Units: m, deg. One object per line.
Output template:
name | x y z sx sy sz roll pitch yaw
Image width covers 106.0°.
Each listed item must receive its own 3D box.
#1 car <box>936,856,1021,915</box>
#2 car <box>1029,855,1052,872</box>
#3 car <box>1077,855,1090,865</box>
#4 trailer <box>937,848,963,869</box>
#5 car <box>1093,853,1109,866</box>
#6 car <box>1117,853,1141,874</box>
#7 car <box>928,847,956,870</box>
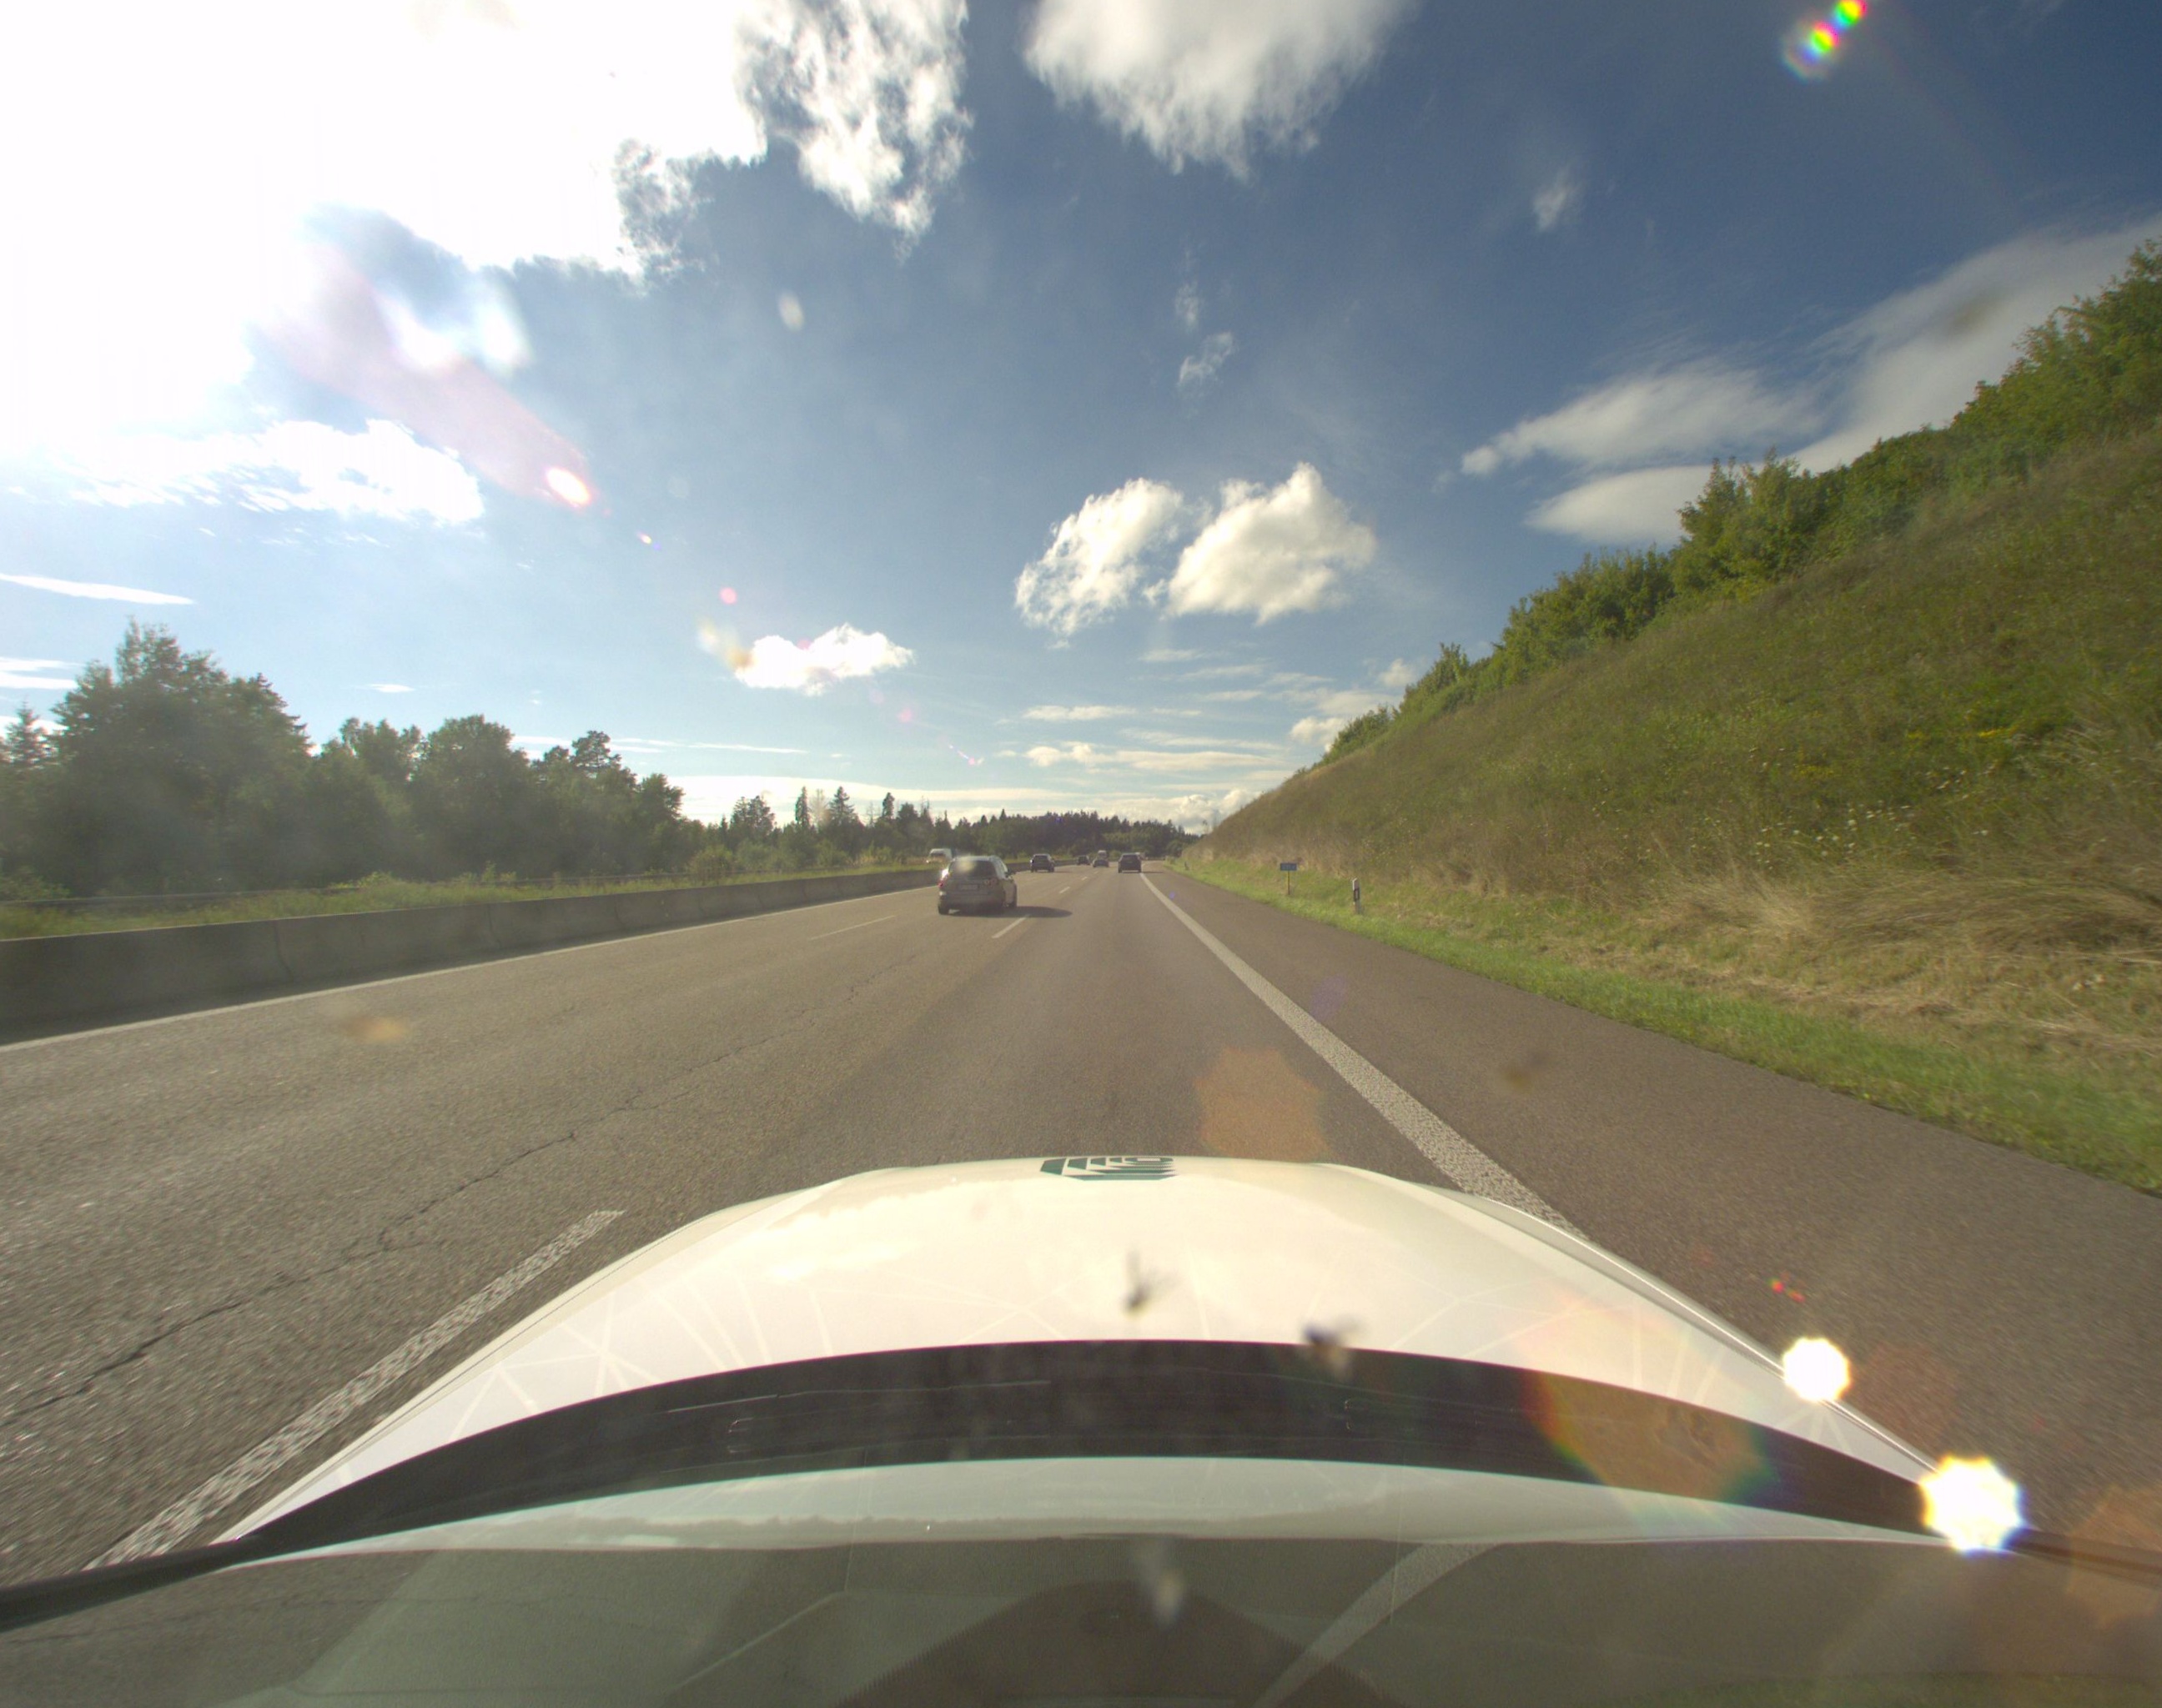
car | -2.815 0.835 23.220 1.867 1.497 3.879 -1 0 0
car | -3.670 0.840 74.389 1.867 1.497 3.879 -1 0 0
car | 0.390 0.881 123.961 1.867 1.497 3.879 -1 0 0
trailer | -17.149 0.540 106.779 2.261 2.683 5.565 -1 0 2
car | 2.468 0.641 100.471 1.866 1.497 3.882 -1 0 3
car | 4.036 0.780 68.498 1.867 1.675 3.891 -1 0 1
car | -17.325 0.543 101.966 2.261 2.683 5.891 -1 0 2
